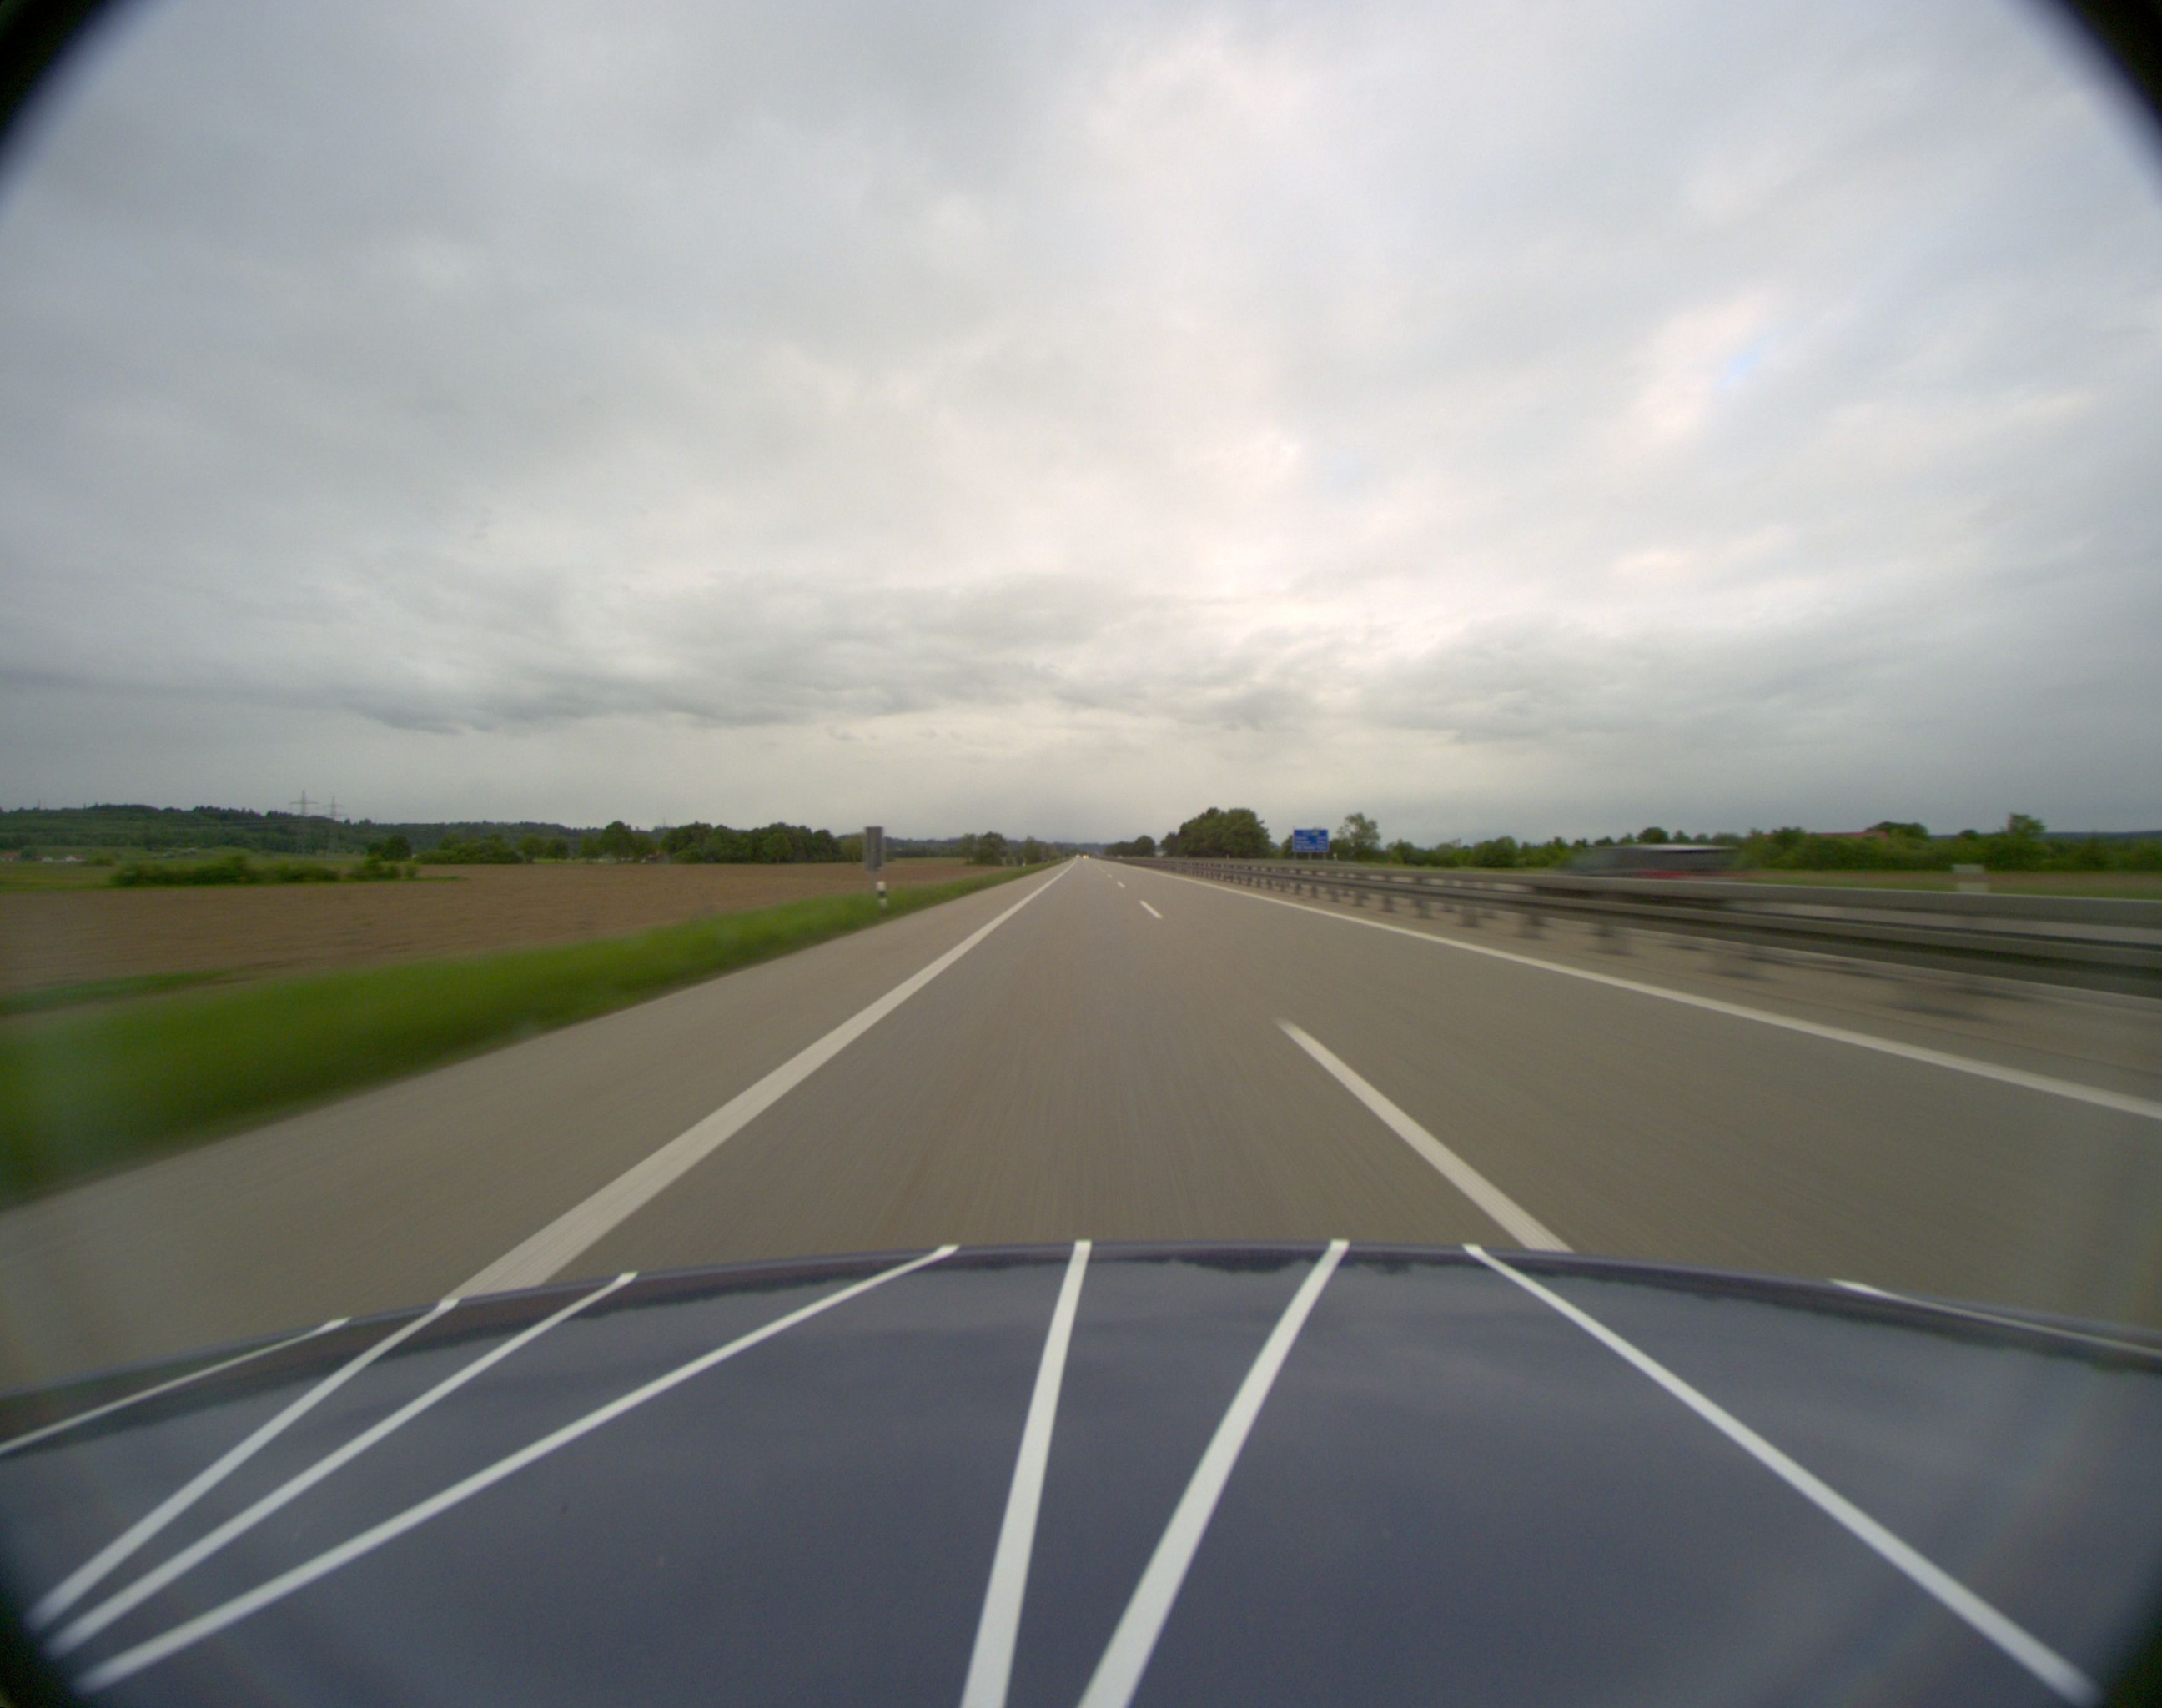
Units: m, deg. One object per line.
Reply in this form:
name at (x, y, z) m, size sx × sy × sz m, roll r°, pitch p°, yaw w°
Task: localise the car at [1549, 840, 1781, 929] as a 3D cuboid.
car at (12.996, 0.594, 17.341) m, size 1.998 × 1.691 × 4.301 m, roll -3°, pitch 0°, yaw 1°
